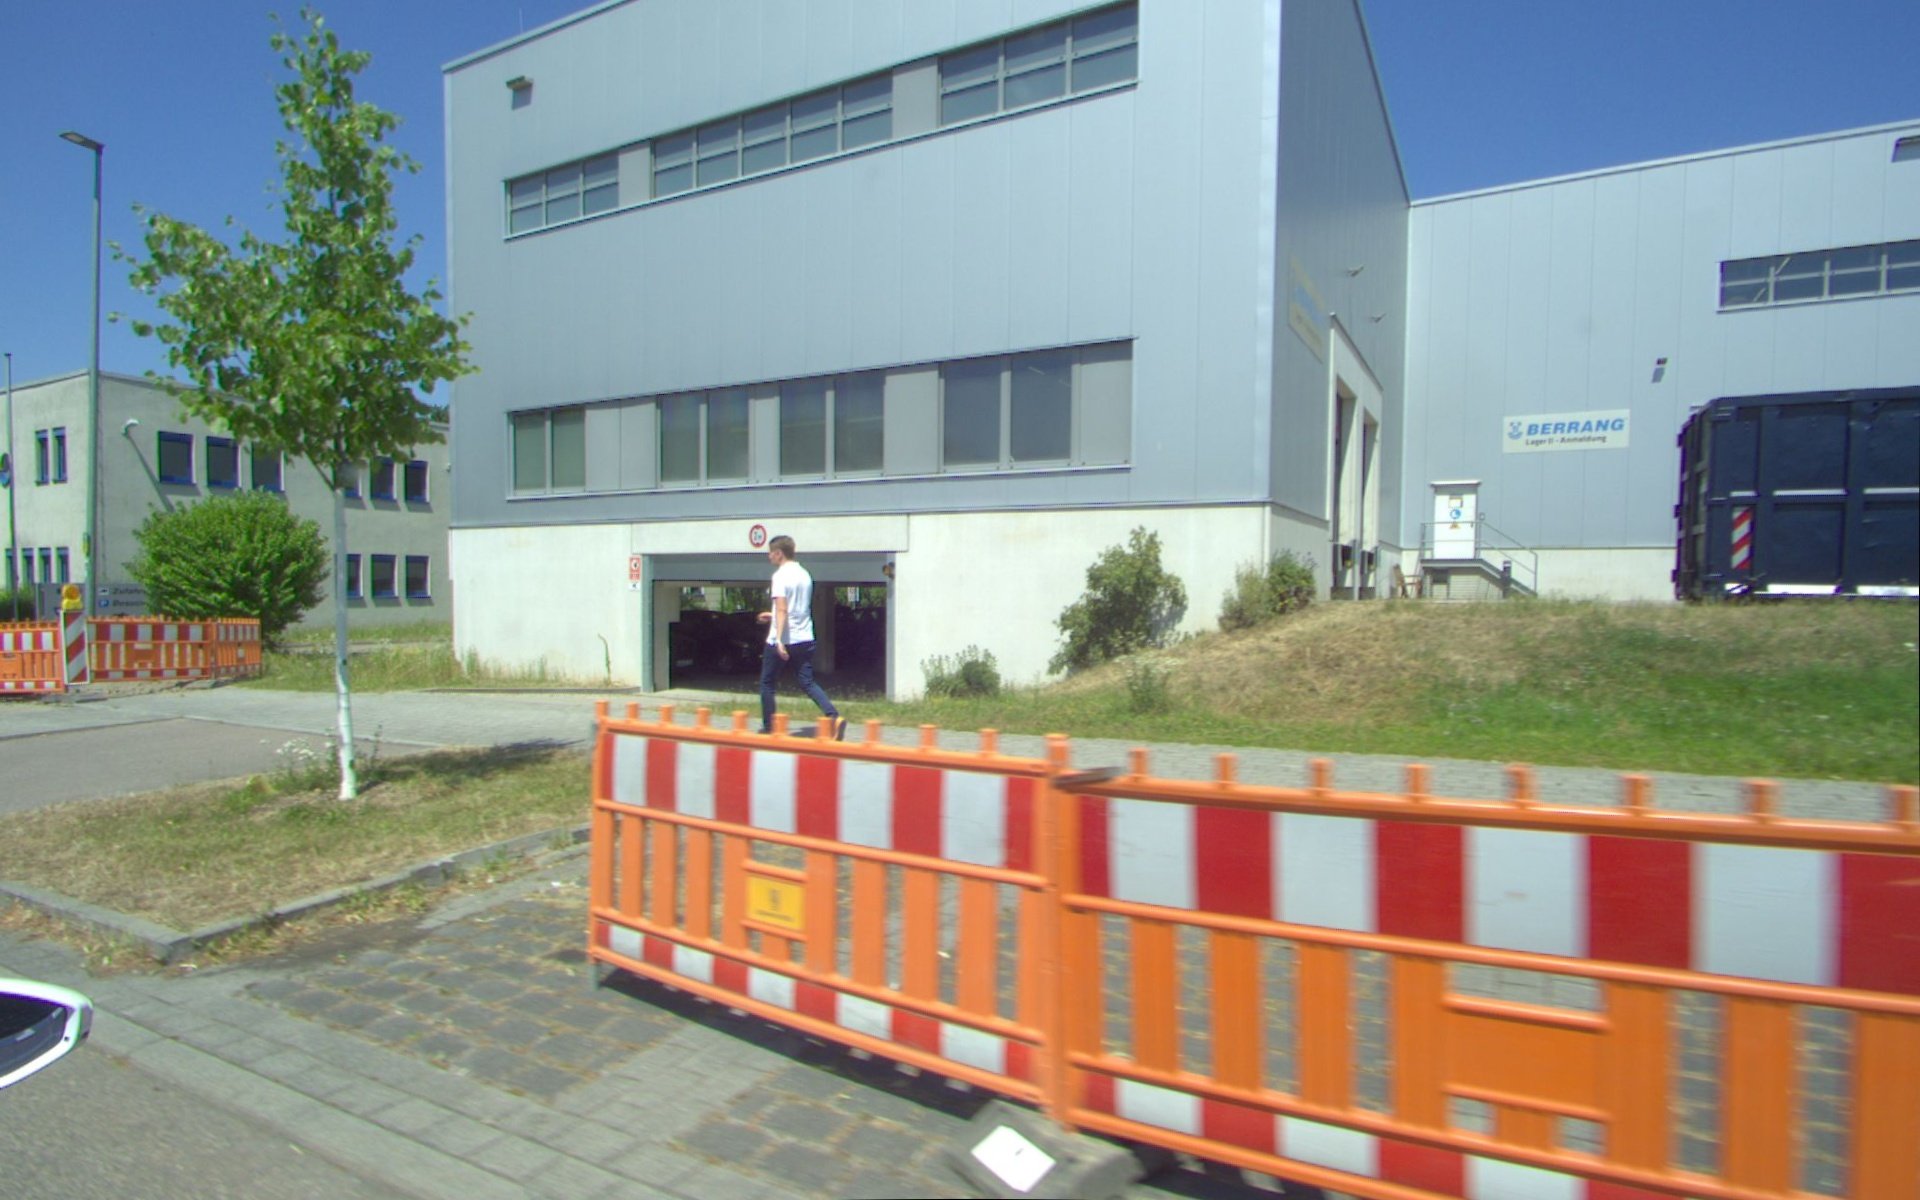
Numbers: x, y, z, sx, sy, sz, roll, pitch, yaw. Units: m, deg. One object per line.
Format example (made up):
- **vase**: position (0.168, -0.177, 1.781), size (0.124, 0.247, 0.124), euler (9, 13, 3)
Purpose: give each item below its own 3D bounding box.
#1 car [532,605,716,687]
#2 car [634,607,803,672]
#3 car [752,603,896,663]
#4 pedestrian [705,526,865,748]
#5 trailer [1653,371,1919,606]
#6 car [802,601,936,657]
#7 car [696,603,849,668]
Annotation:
- **car**: position (-7.530, 0.955, 22.358), size (3.941, 1.473, 1.822), euler (3, 3, 32)
- **car**: position (-6.005, 0.949, 24.800), size (3.943, 1.496, 1.879), euler (-1, -1, 32)
- **car**: position (-4.082, 0.927, 29.903), size (3.941, 1.473, 1.878), euler (3, 3, 32)
- **pedestrian**: position (-1.588, 0.318, 9.192), size (1.192, 1.914, 0.864), euler (1, 1, 14)
- **trailer**: position (12.262, -1.133, 11.059), size (7.304, 2.453, 2.654), euler (3, 1, 32)
- **car**: position (-2.940, 0.876, 32.053), size (3.941, 1.473, 1.878), euler (3, 3, 32)
- **car**: position (-5.222, 0.918, 27.736), size (3.941, 1.473, 1.878), euler (3, 3, 32)
